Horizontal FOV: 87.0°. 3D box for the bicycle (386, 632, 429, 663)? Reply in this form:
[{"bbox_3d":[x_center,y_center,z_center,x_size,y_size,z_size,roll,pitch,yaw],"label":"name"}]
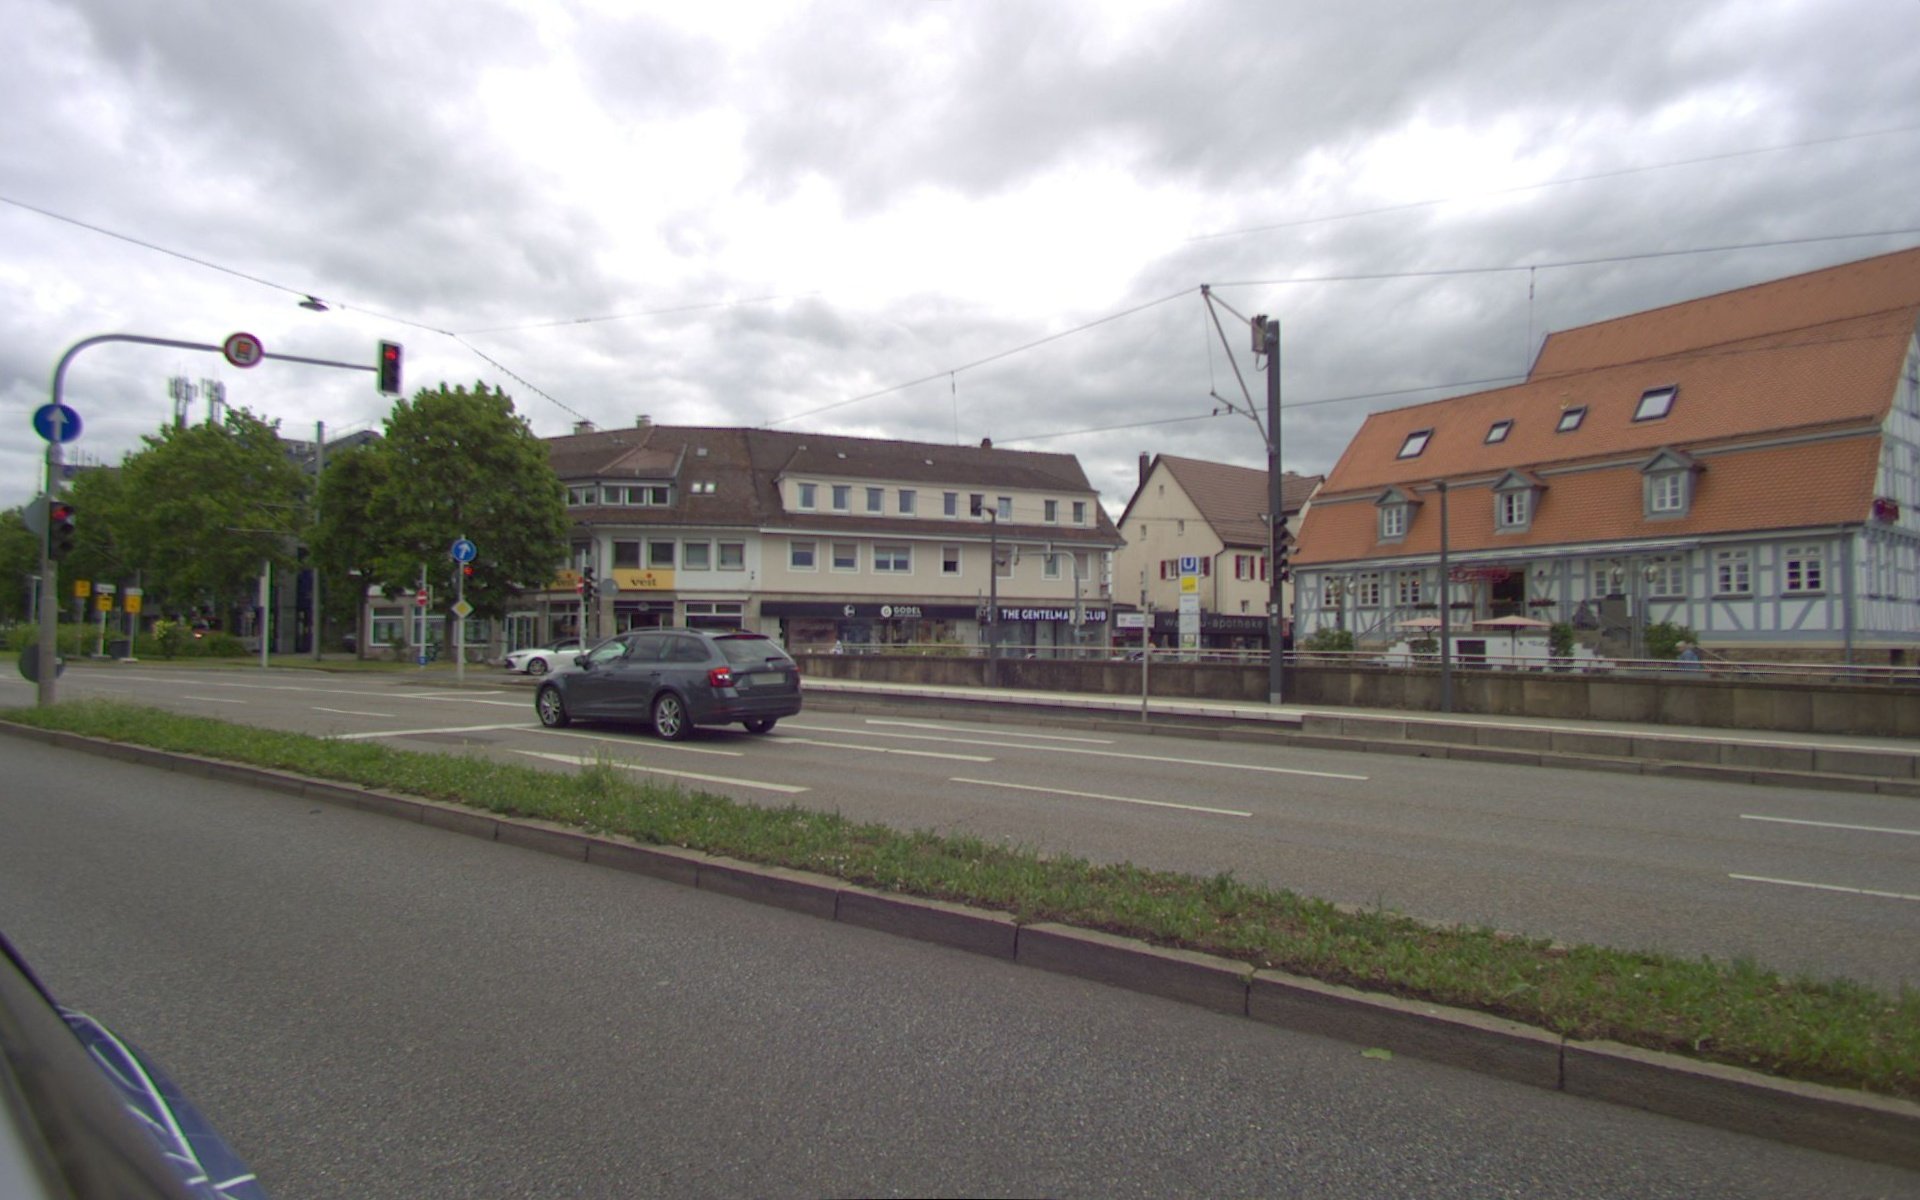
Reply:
[{"bbox_3d":[-23.294,1.992,42.692,0.621,1.263,1.676,1,-2,14],"label":"bicycle"}]

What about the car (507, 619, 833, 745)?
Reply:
[{"bbox_3d":[-4.224,1.072,14.472,4.633,1.524,1.977,-1,-3,35],"label":"car"}]

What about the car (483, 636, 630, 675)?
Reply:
[{"bbox_3d":[-15.128,2.068,38.054,4.732,1.367,2.004,2,-3,-37],"label":"car"}]

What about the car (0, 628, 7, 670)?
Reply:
[{"bbox_3d":[-34.438,1.614,33.718,4.775,1.367,1.986,0,-2,21],"label":"car"}]
